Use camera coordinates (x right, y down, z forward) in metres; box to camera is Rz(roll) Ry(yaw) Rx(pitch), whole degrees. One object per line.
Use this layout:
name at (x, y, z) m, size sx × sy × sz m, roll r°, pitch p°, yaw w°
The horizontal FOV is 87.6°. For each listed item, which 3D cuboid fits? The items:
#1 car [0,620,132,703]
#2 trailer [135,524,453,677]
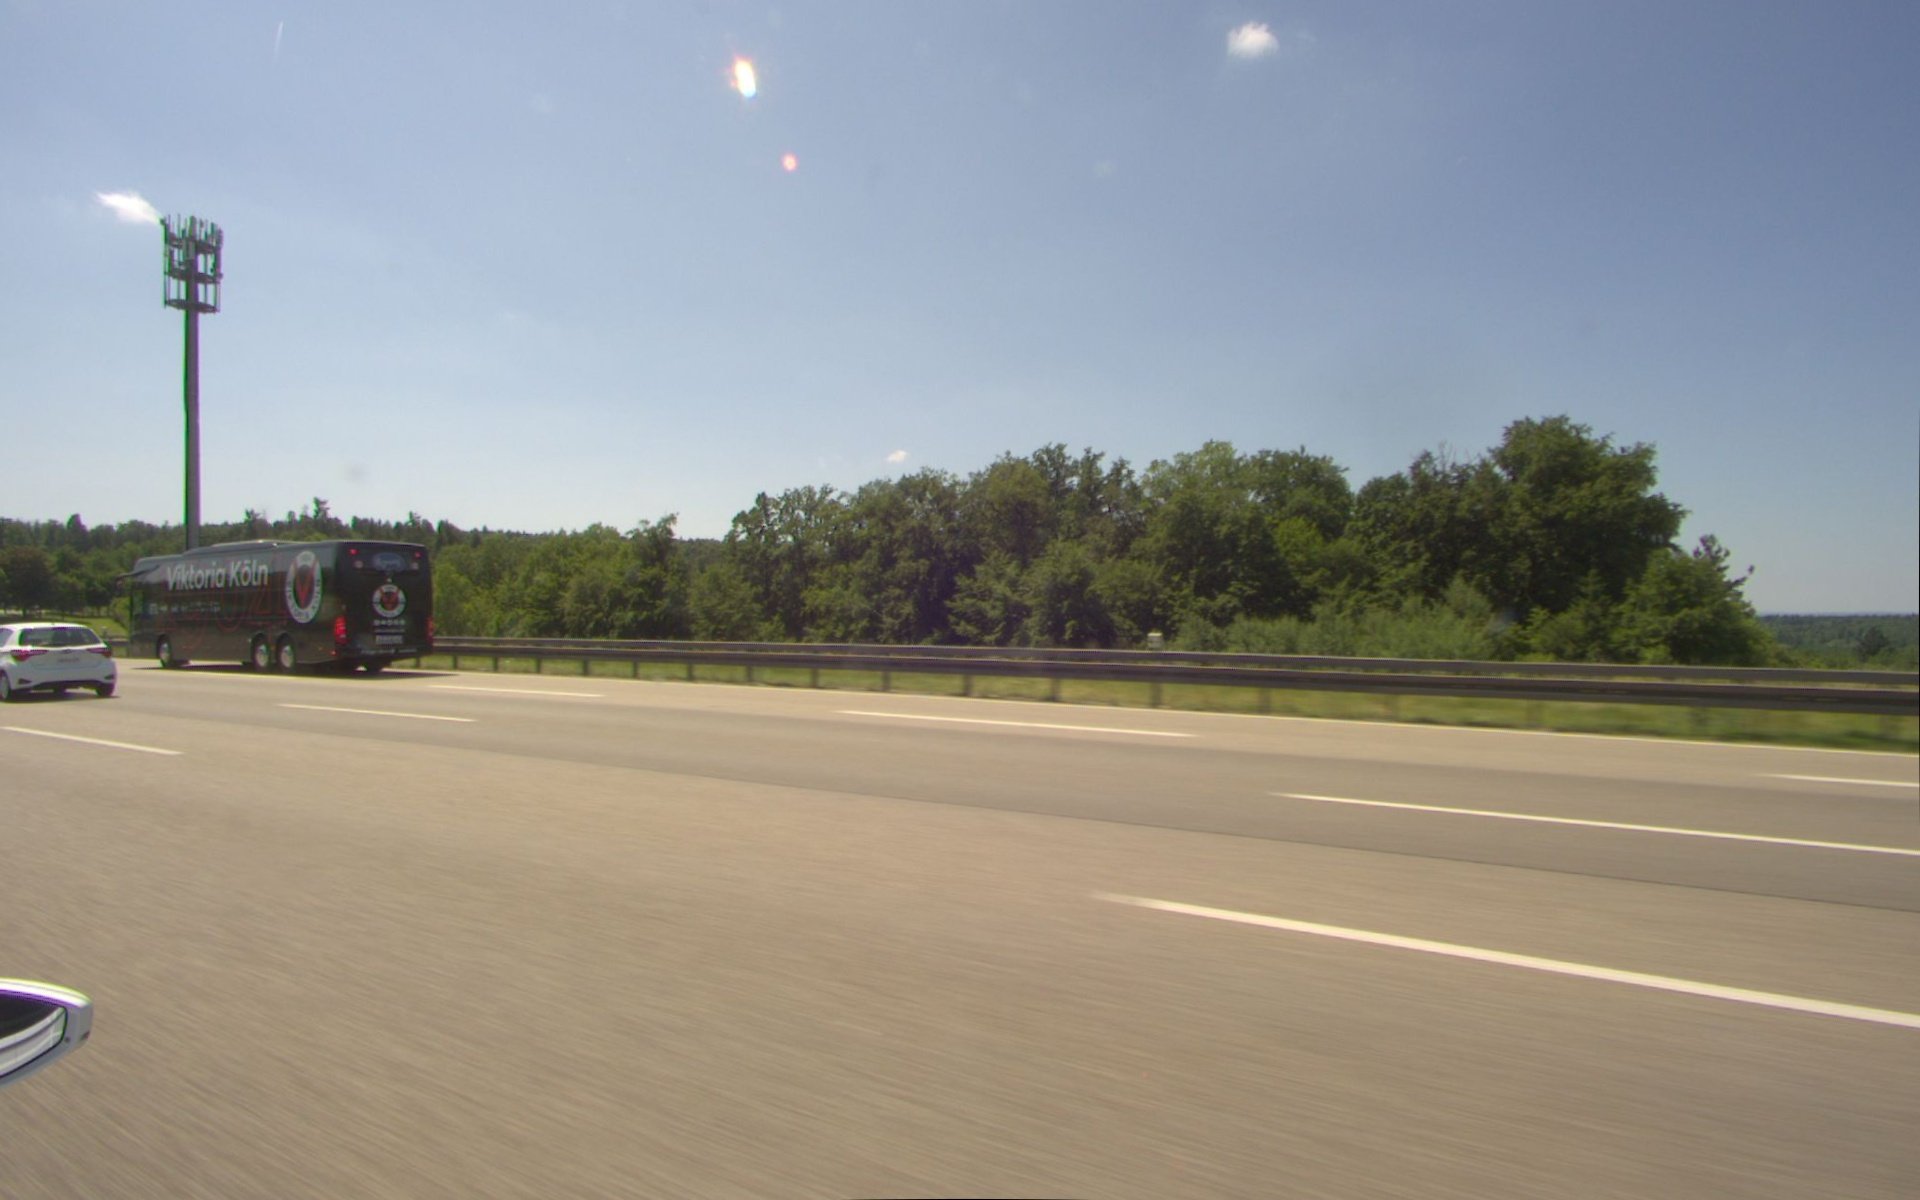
car at (-18.894, 1.189, 20.515) m, size 4.313 × 1.453 × 1.662 m, roll -1°, pitch 2°, yaw 32°
trailer at (-19.976, 0.154, 29.424) m, size 13.355 × 3.736 × 2.851 m, roll -1°, pitch -1°, yaw 34°
